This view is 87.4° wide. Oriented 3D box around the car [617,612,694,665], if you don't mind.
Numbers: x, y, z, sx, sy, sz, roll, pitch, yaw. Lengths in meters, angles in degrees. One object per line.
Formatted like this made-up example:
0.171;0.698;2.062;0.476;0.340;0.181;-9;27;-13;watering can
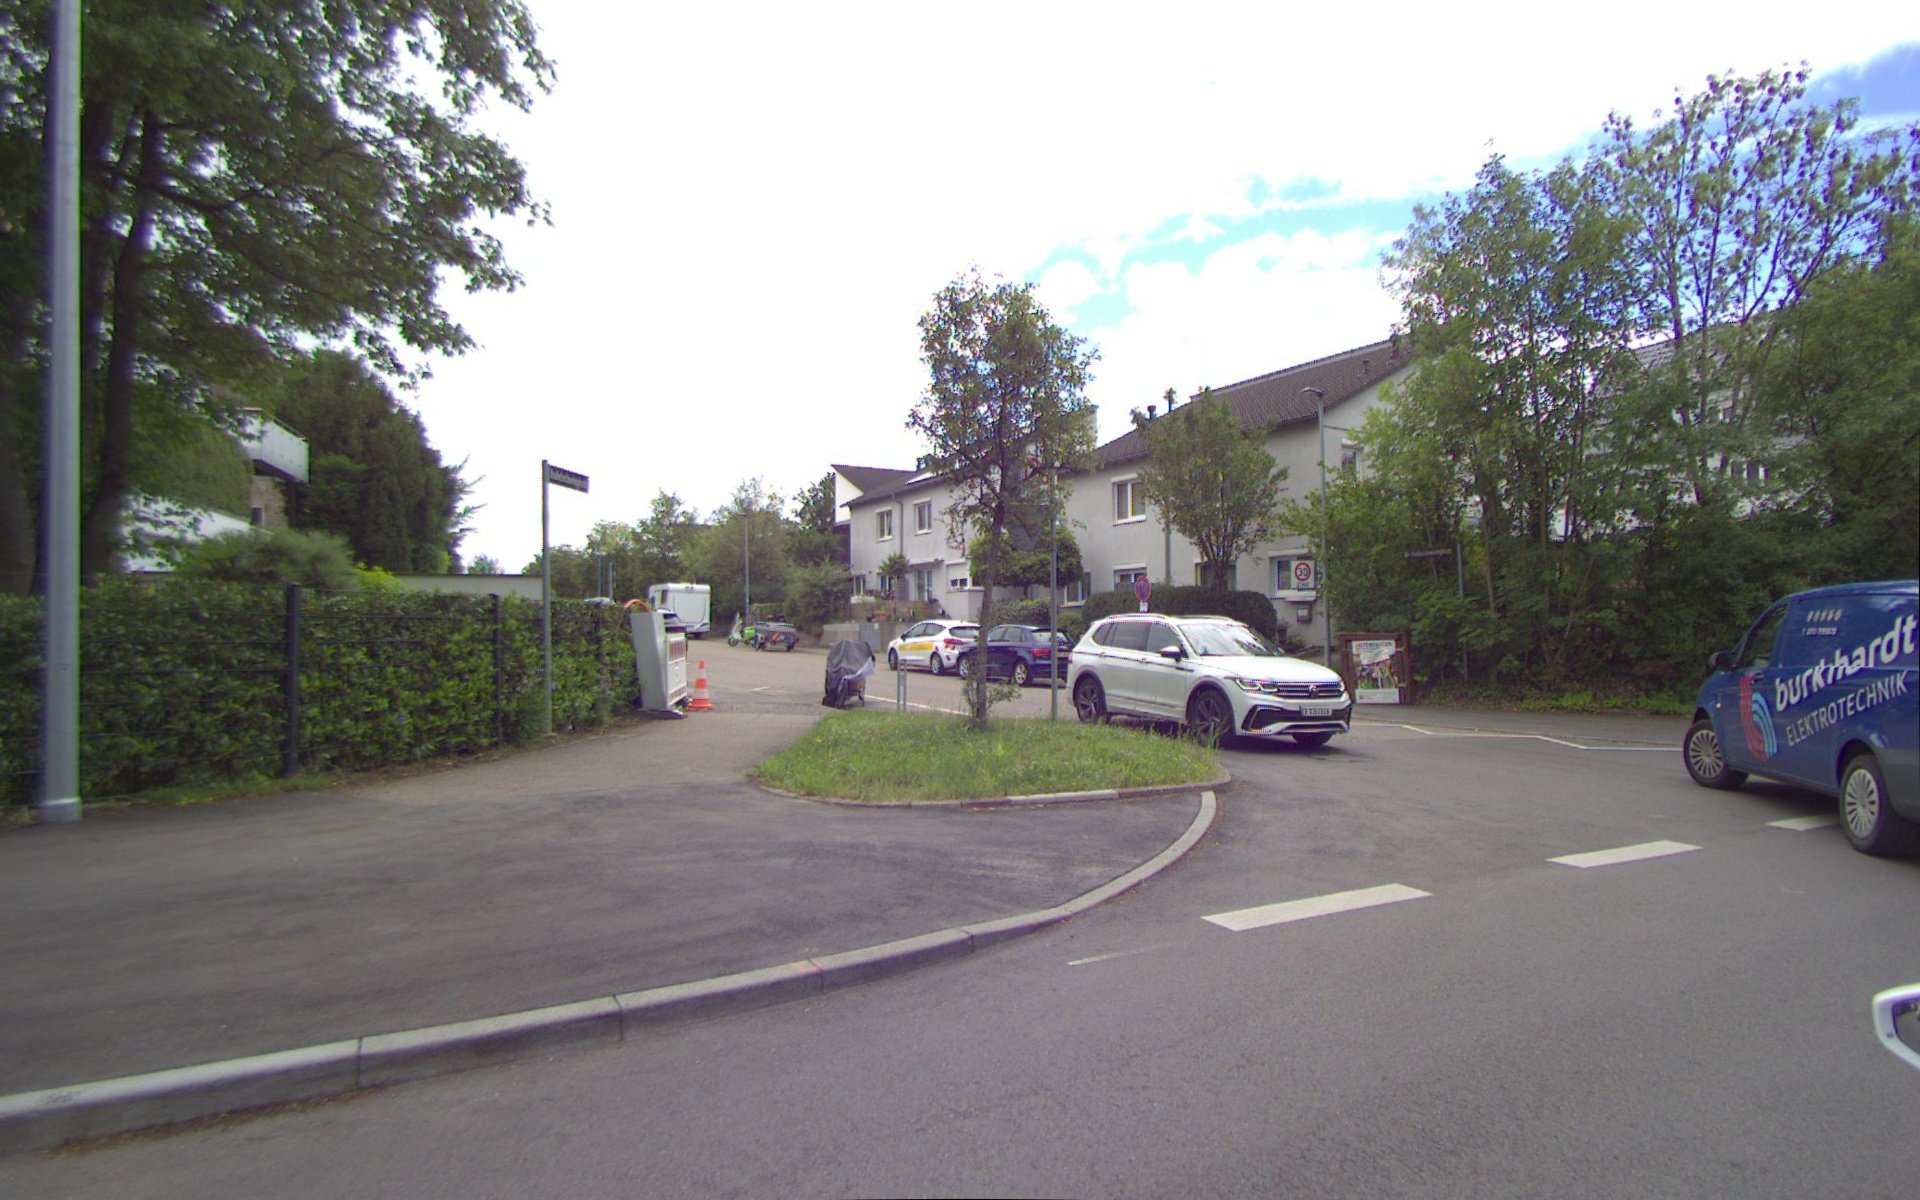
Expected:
-9.727;1.176;31.920;1.740;1.549;3.943;1;-1;-25;car

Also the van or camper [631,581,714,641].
-15.046;0.540;52.180;2.280;2.883;7.558;1;-1;-30;van or camper

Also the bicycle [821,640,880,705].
-1.916;1.251;17.934;0.639;1.014;2.586;1;-1;3;bicycle

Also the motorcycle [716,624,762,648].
-9.335;1.504;42.393;2.008;0.977;0.717;1;-1;36;motorcycle

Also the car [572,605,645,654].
-13.763;1.124;39.204;1.976;1.817;3.969;2;-1;-30;car

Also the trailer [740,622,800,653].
-7.597;1.481;39.928;1.461;1.111;3.361;2;-1;-26;trailer

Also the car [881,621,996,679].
-0.661;1.323;27.814;1.513;1.431;3.764;1;-1;-31;car

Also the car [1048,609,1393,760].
3.305;1.008;13.950;2.009;1.692;4.923;2;-1;-24;car

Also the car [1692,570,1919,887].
7.500;0.827;7.766;1.905;1.905;4.529;1;-1;22;car

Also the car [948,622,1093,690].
1.372;1.279;24.032;1.655;1.431;3.517;1;-1;-34;car
